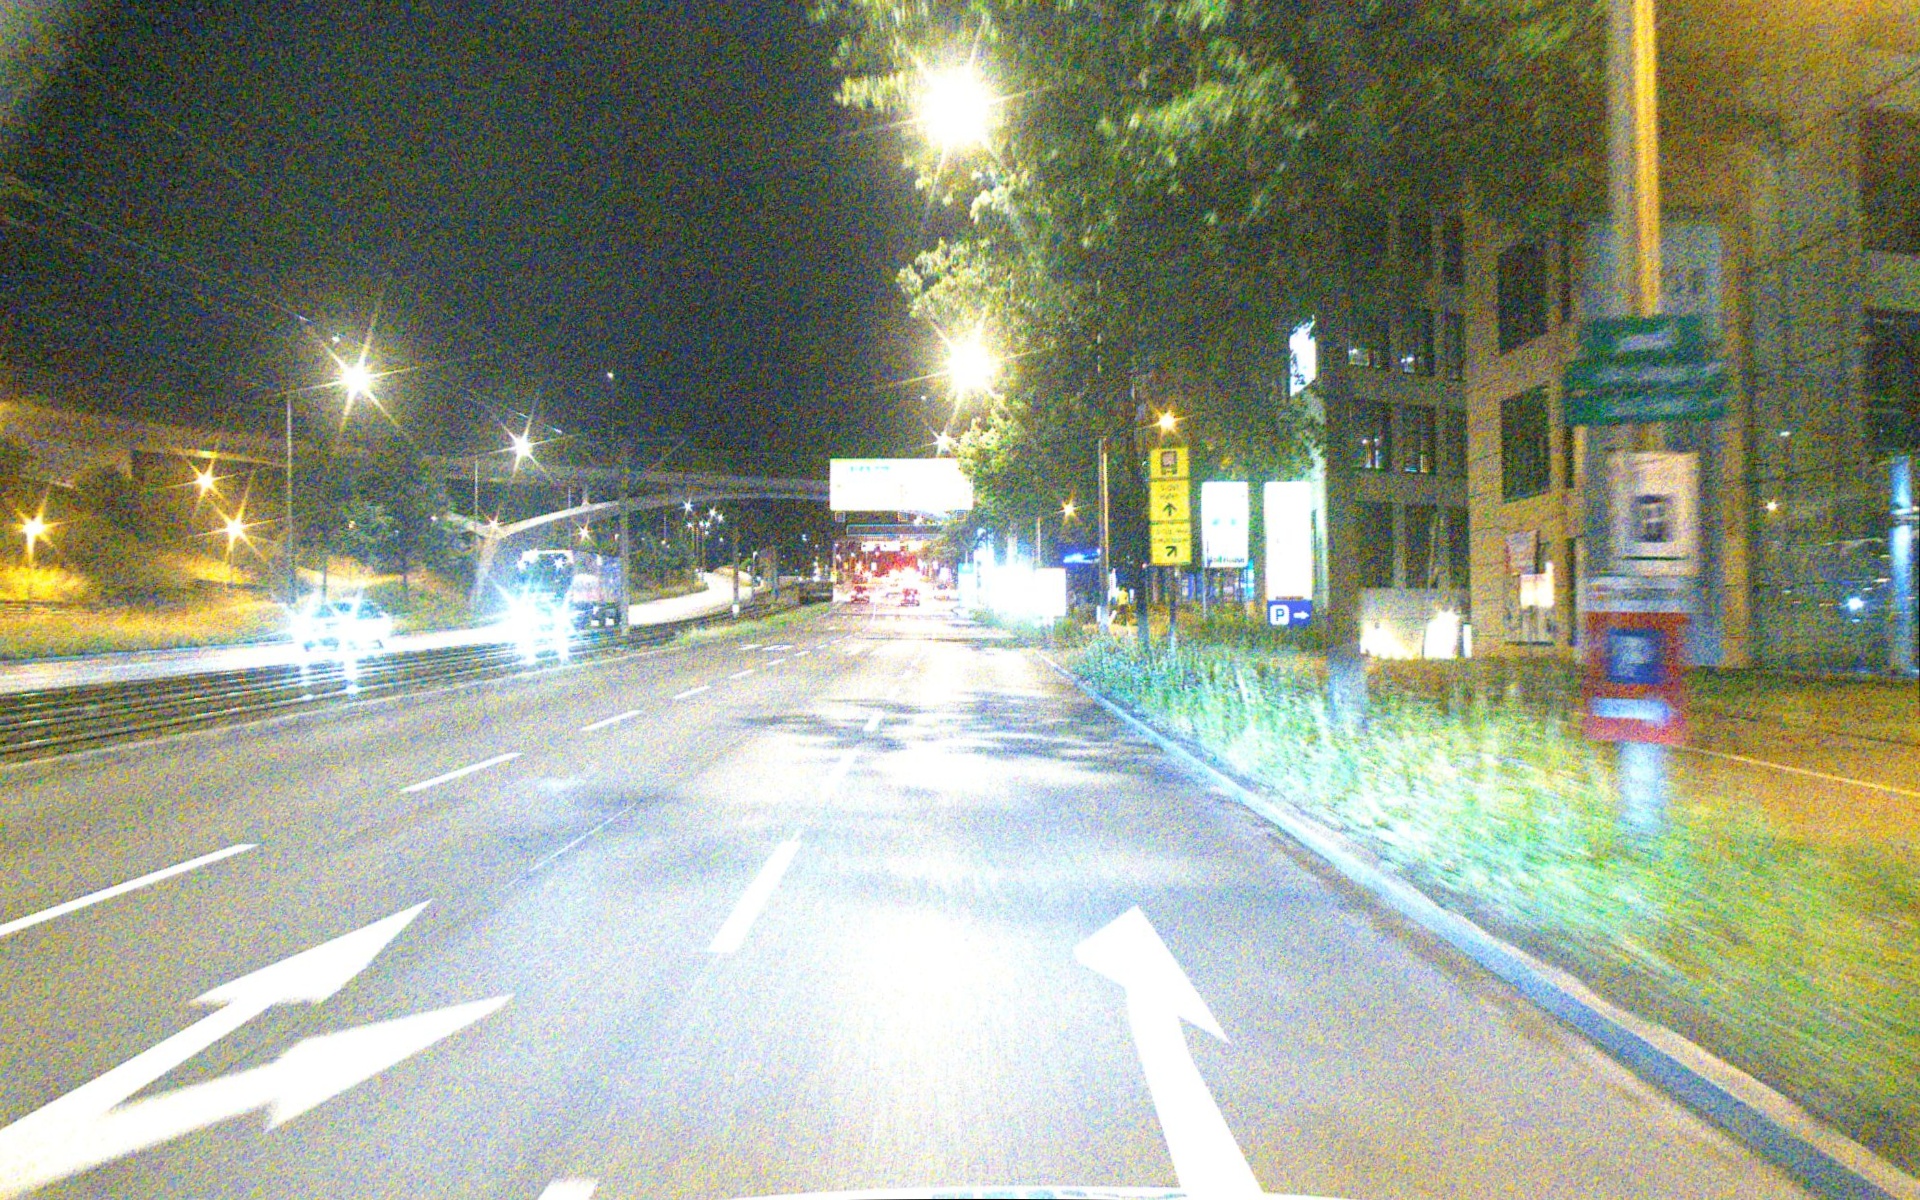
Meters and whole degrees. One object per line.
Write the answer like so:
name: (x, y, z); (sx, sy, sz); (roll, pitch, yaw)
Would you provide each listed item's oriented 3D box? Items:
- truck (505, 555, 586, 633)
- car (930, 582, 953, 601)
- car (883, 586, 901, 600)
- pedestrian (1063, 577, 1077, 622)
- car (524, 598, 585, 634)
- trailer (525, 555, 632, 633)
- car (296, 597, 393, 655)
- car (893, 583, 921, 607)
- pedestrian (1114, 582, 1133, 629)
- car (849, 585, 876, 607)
truck: (-21.201, -0.333, 84.843); (2.979, 3.886, 4.934); (0, 1, -1)
car: (-2.101, -1.001, 188.174); (2.377, 2.150, 4.828); (0, 1, 2)
car: (-7.826, -0.791, 191.487); (1.953, 1.580, 3.999); (0, 0, -1)
pedestrian: (6.220, -0.035, 93.218); (0.729, 2.477, 0.780); (1, 0, 2)
car: (-18.000, 0.687, 73.563); (1.872, 1.499, 3.770); (0, 1, -2)
trailer: (-21.304, -0.408, 93.288); (2.933, 4.070, 13.954); (0, 1, -1)
car: (-19.946, 0.810, 53.722); (1.826, 1.780, 3.700); (0, 1, -2)
car: (-4.899, -0.448, 154.284); (2.307, 2.166, 4.828); (0, 1, 2)
pedestrian: (7.357, 0.259, 74.448); (0.746, 2.099, 0.643); (0, 1, -1)
car: (-9.360, -0.432, 159.246); (2.215, 2.049, 4.828); (0, 1, 2)
